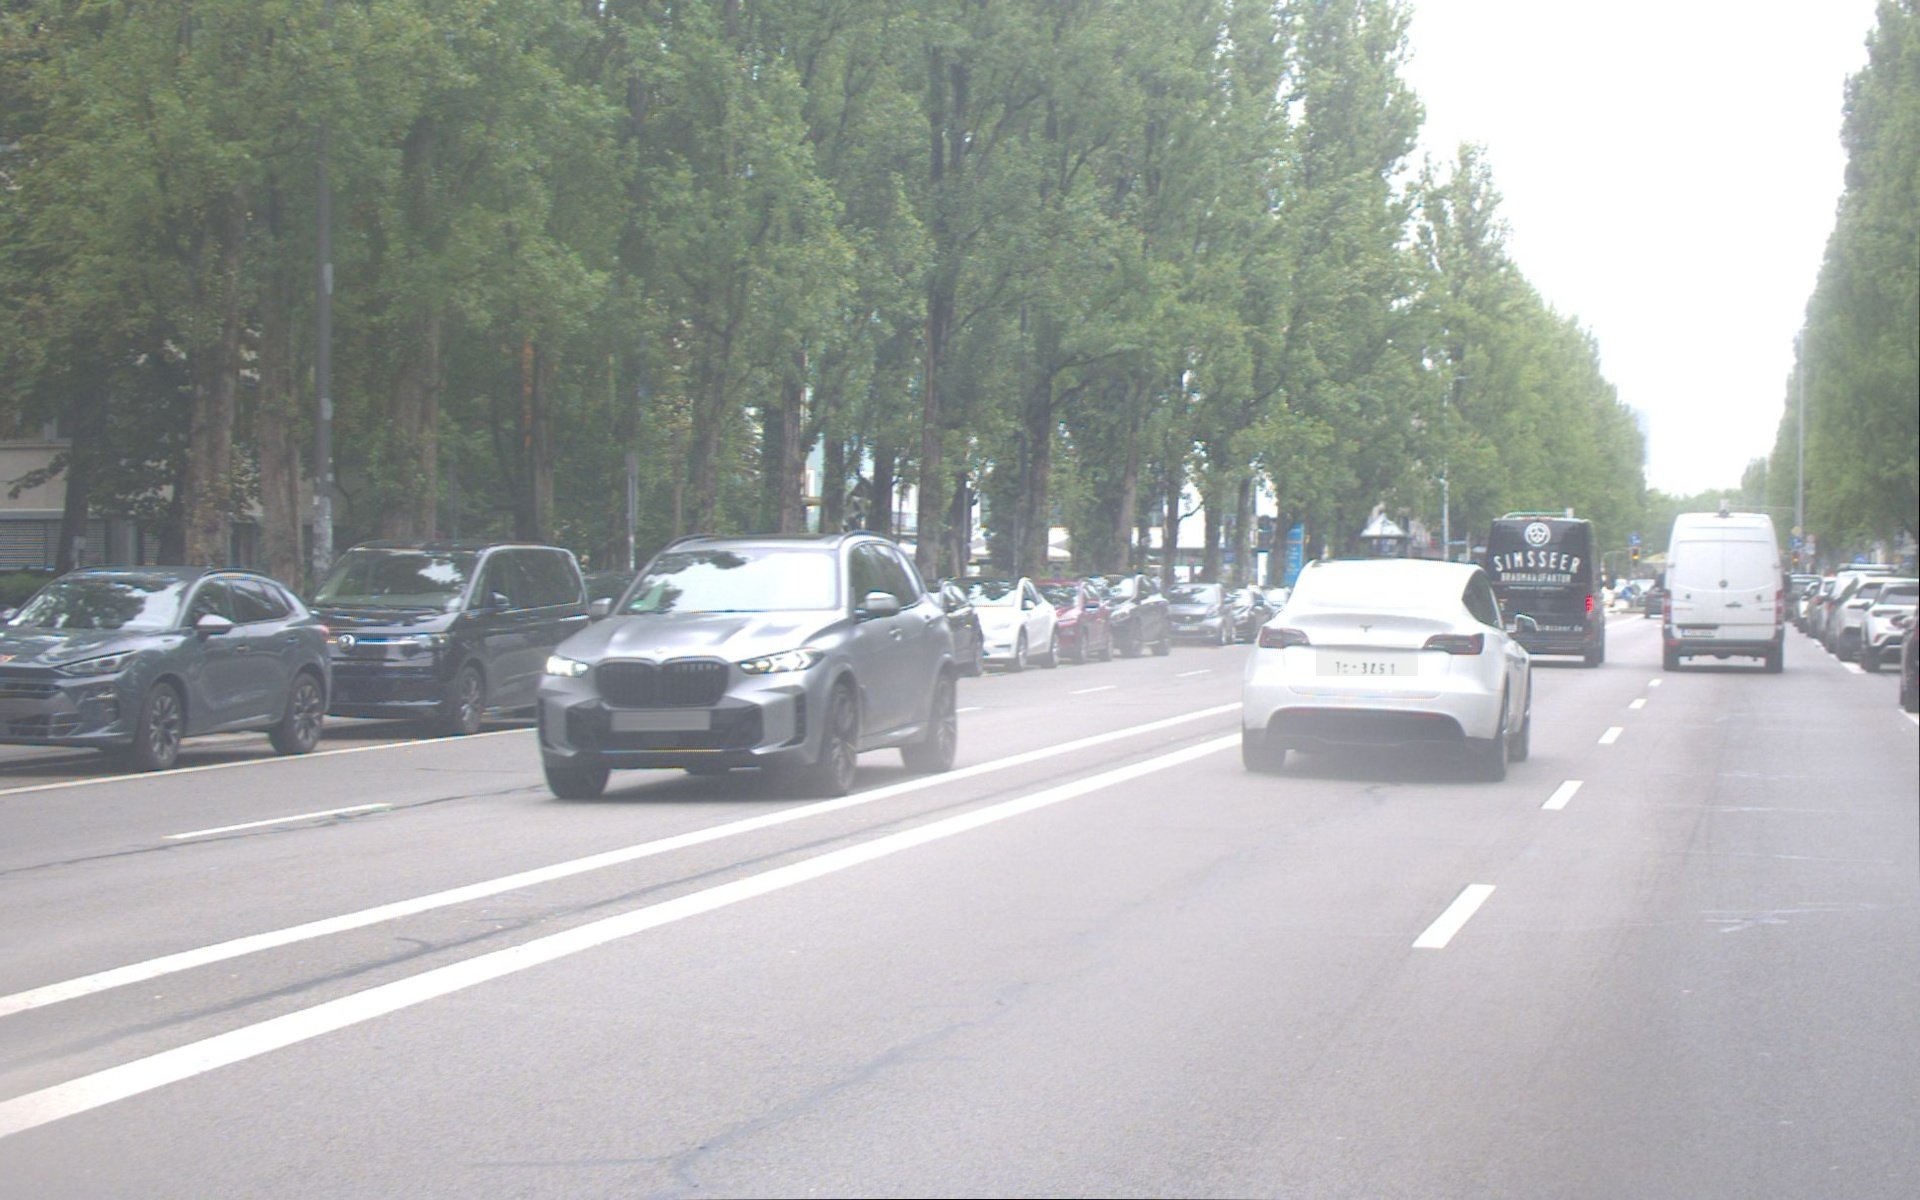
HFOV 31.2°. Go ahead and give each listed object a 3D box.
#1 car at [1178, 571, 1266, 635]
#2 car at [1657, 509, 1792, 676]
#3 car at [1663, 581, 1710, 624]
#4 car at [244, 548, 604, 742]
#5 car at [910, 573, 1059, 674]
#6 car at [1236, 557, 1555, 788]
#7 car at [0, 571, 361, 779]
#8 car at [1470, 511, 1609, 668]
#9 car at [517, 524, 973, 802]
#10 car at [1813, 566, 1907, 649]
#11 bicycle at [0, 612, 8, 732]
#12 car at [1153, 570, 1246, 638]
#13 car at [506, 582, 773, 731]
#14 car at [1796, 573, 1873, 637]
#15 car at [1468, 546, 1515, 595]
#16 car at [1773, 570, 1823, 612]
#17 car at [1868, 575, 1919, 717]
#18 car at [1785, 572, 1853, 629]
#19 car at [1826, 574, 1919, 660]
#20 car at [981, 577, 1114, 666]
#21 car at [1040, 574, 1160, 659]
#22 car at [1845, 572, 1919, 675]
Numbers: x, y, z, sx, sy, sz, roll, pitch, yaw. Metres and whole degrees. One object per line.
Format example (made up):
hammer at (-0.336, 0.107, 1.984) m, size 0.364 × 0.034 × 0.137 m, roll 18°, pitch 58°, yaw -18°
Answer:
car at (6.628, 0.056, 86.766) m, size 1.762 × 1.573 × 3.459 m, roll 0°, pitch 0°, yaw 12°
car at (13.044, -0.178, 58.679) m, size 2.041 × 2.643 × 6.038 m, roll 2°, pitch 1°, yaw 12°
car at (29.362, 0.096, 139.088) m, size 1.743 × 1.637 × 3.949 m, roll 2°, pitch 1°, yaw 11°
car at (-5.263, 0.389, 34.470) m, size 1.994 × 1.791 × 4.759 m, roll 0°, pitch 1°, yaw 12°
car at (0.457, 0.368, 58.844) m, size 1.762 × 1.573 × 3.970 m, roll 0°, pitch 2°, yaw 13°
car at (3.459, 0.481, 26.567) m, size 1.995 × 1.570 × 4.636 m, roll 2°, pitch 1°, yaw 12°
car at (-6.691, 0.540, 28.082) m, size 1.995 × 1.536 × 4.322 m, roll 0°, pitch 1°, yaw 13°
car at (10.197, -0.211, 60.180) m, size 2.077 × 2.547 × 5.929 m, roll 2°, pitch 1°, yaw 12°
car at (-1.346, 0.382, 23.771) m, size 1.994 × 1.710 × 4.757 m, roll -1°, pitch 0°, yaw 11°
car at (20.310, 0.147, 77.681) m, size 1.743 × 1.781 × 3.949 m, roll 2°, pitch 1°, yaw 11°
bicycle at (-9.985, 0.668, 32.194) m, size 1.983 × 1.120 × 0.676 m, roll 1°, pitch 1°, yaw 13°
car at (5.813, 0.077, 83.136) m, size 1.762 × 1.573 × 3.459 m, roll 0°, pitch 1°, yaw 13°
car at (-3.642, 0.606, 39.889) m, size 1.994 × 1.601 × 4.351 m, roll 0°, pitch 1°, yaw 10°
car at (23.615, 0.117, 92.956) m, size 1.743 × 1.637 × 3.949 m, roll 2°, pitch 1°, yaw 11°
car at (30.961, -1.748, 200.147) m, size 2.194 × 2.709 × 6.997 m, roll 0°, pitch 2°, yaw 13°
car at (33.994, -0.375, 139.512) m, size 1.743 × 1.637 × 3.949 m, roll 2°, pitch 1°, yaw 11°
car at (11.707, 0.524, 40.309) m, size 1.743 × 1.586 × 3.949 m, roll 2°, pitch 1°, yaw 11°
car at (25.970, 0.003, 104.025) m, size 1.743 × 1.637 × 3.949 m, roll 2°, pitch 1°, yaw 11°
car at (17.644, 0.308, 65.940) m, size 1.743 × 1.541 × 3.949 m, roll 2°, pitch 1°, yaw 11°
car at (1.679, 0.376, 64.481) m, size 1.762 × 1.573 × 3.970 m, roll 0°, pitch 1°, yaw 13°
car at (2.872, 0.318, 69.950) m, size 1.762 × 1.573 × 3.970 m, roll 0°, pitch 2°, yaw 13°
car at (15.965, 0.382, 57.914) m, size 1.743 × 1.637 × 3.949 m, roll 2°, pitch 1°, yaw 11°
